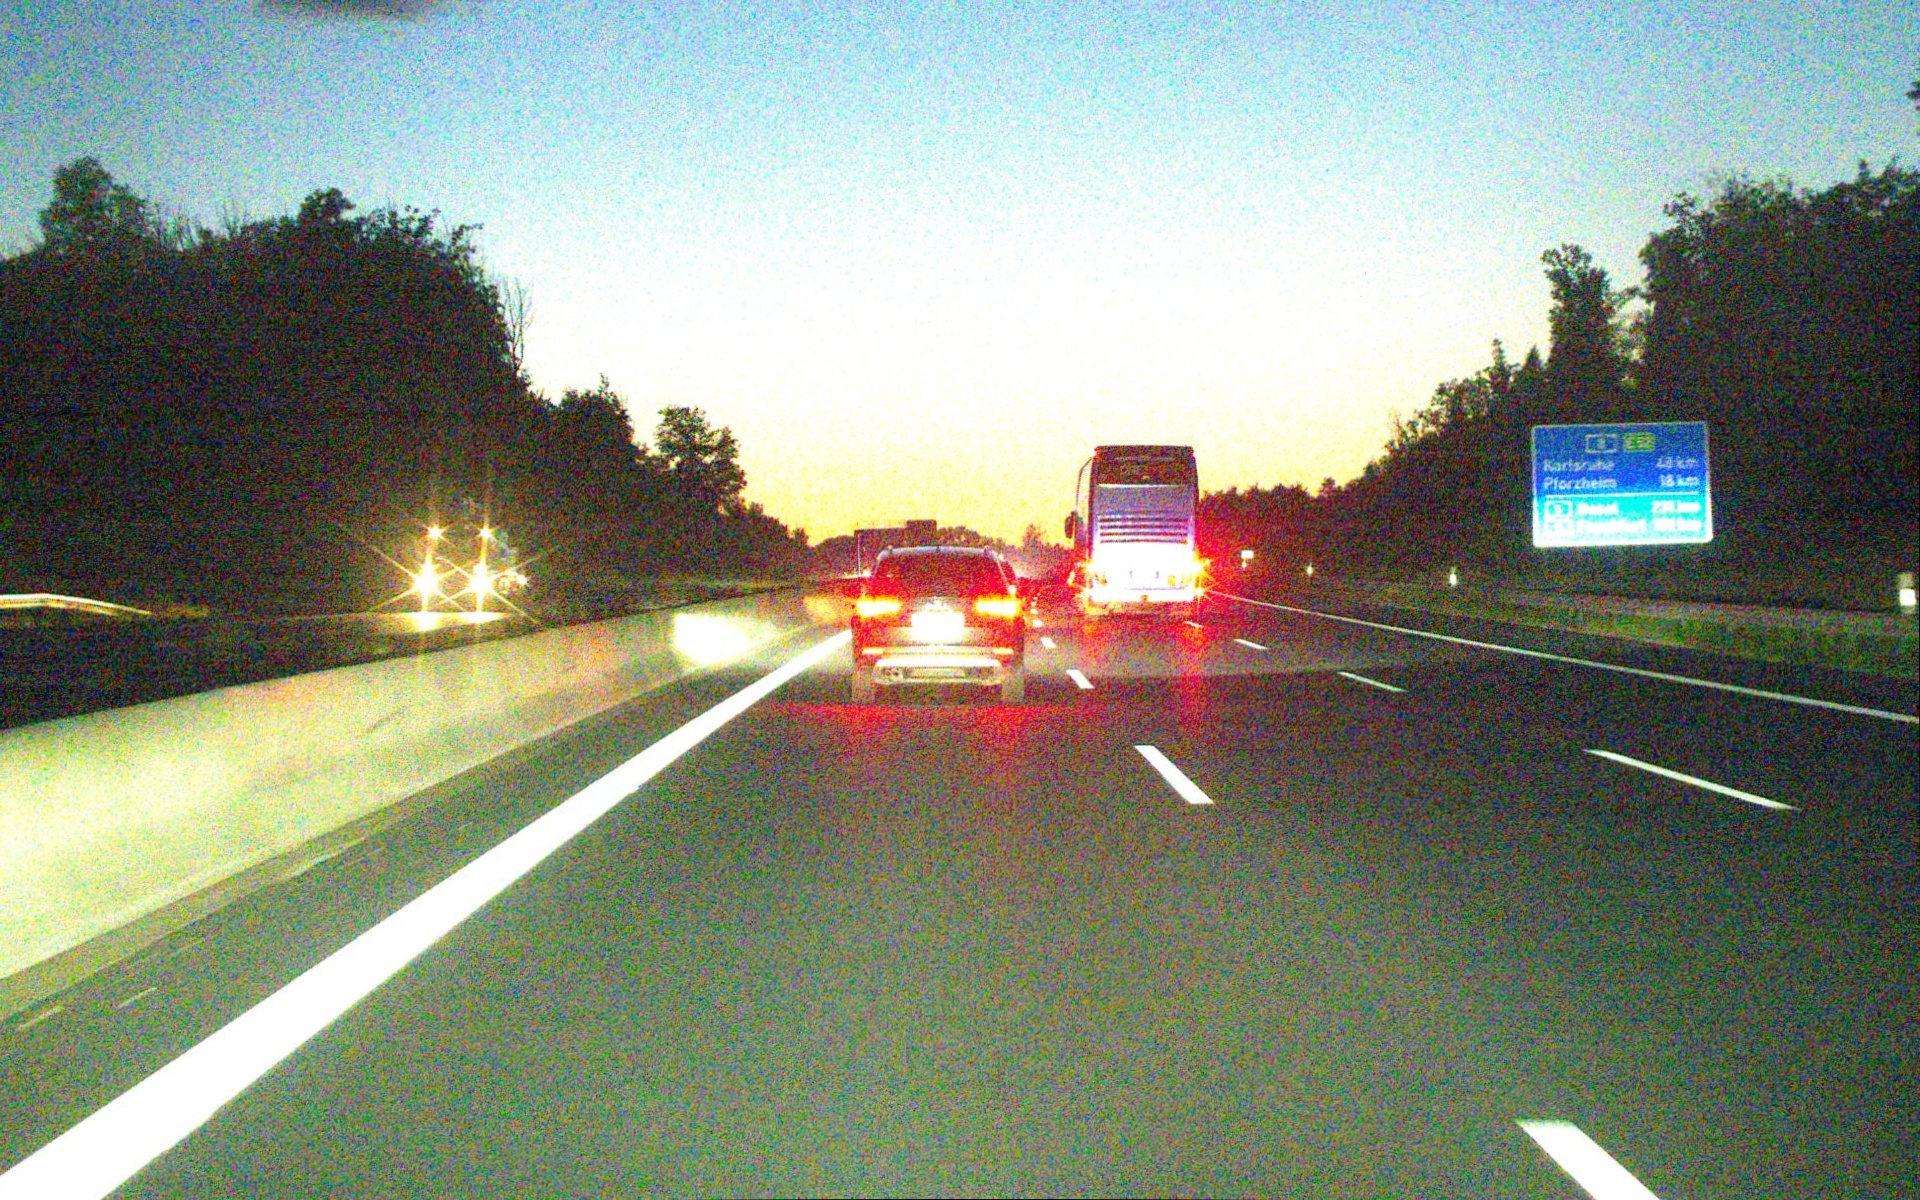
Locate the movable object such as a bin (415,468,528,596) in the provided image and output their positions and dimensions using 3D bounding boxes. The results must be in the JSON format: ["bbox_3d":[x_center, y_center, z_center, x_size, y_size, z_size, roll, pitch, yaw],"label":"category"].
[{"bbox_3d":[-14.862,-2.054,105.109,2.293,3.756,7.686,0,1,1],"label":"movable object such as a bin"}]

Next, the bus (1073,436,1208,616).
[{"bbox_3d":[4.322,-1.646,84.913,2.652,3.980,14.701,-2,0,1],"label":"bus"}]

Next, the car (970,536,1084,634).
[{"bbox_3d":[1.263,-0.271,66.279,1.911,1.724,4.000,3,0,-2],"label":"car"}]

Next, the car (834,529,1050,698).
[{"bbox_3d":[-0.209,0.148,36.209,2.105,1.612,4.204,-2,0,-1],"label":"car"}]
